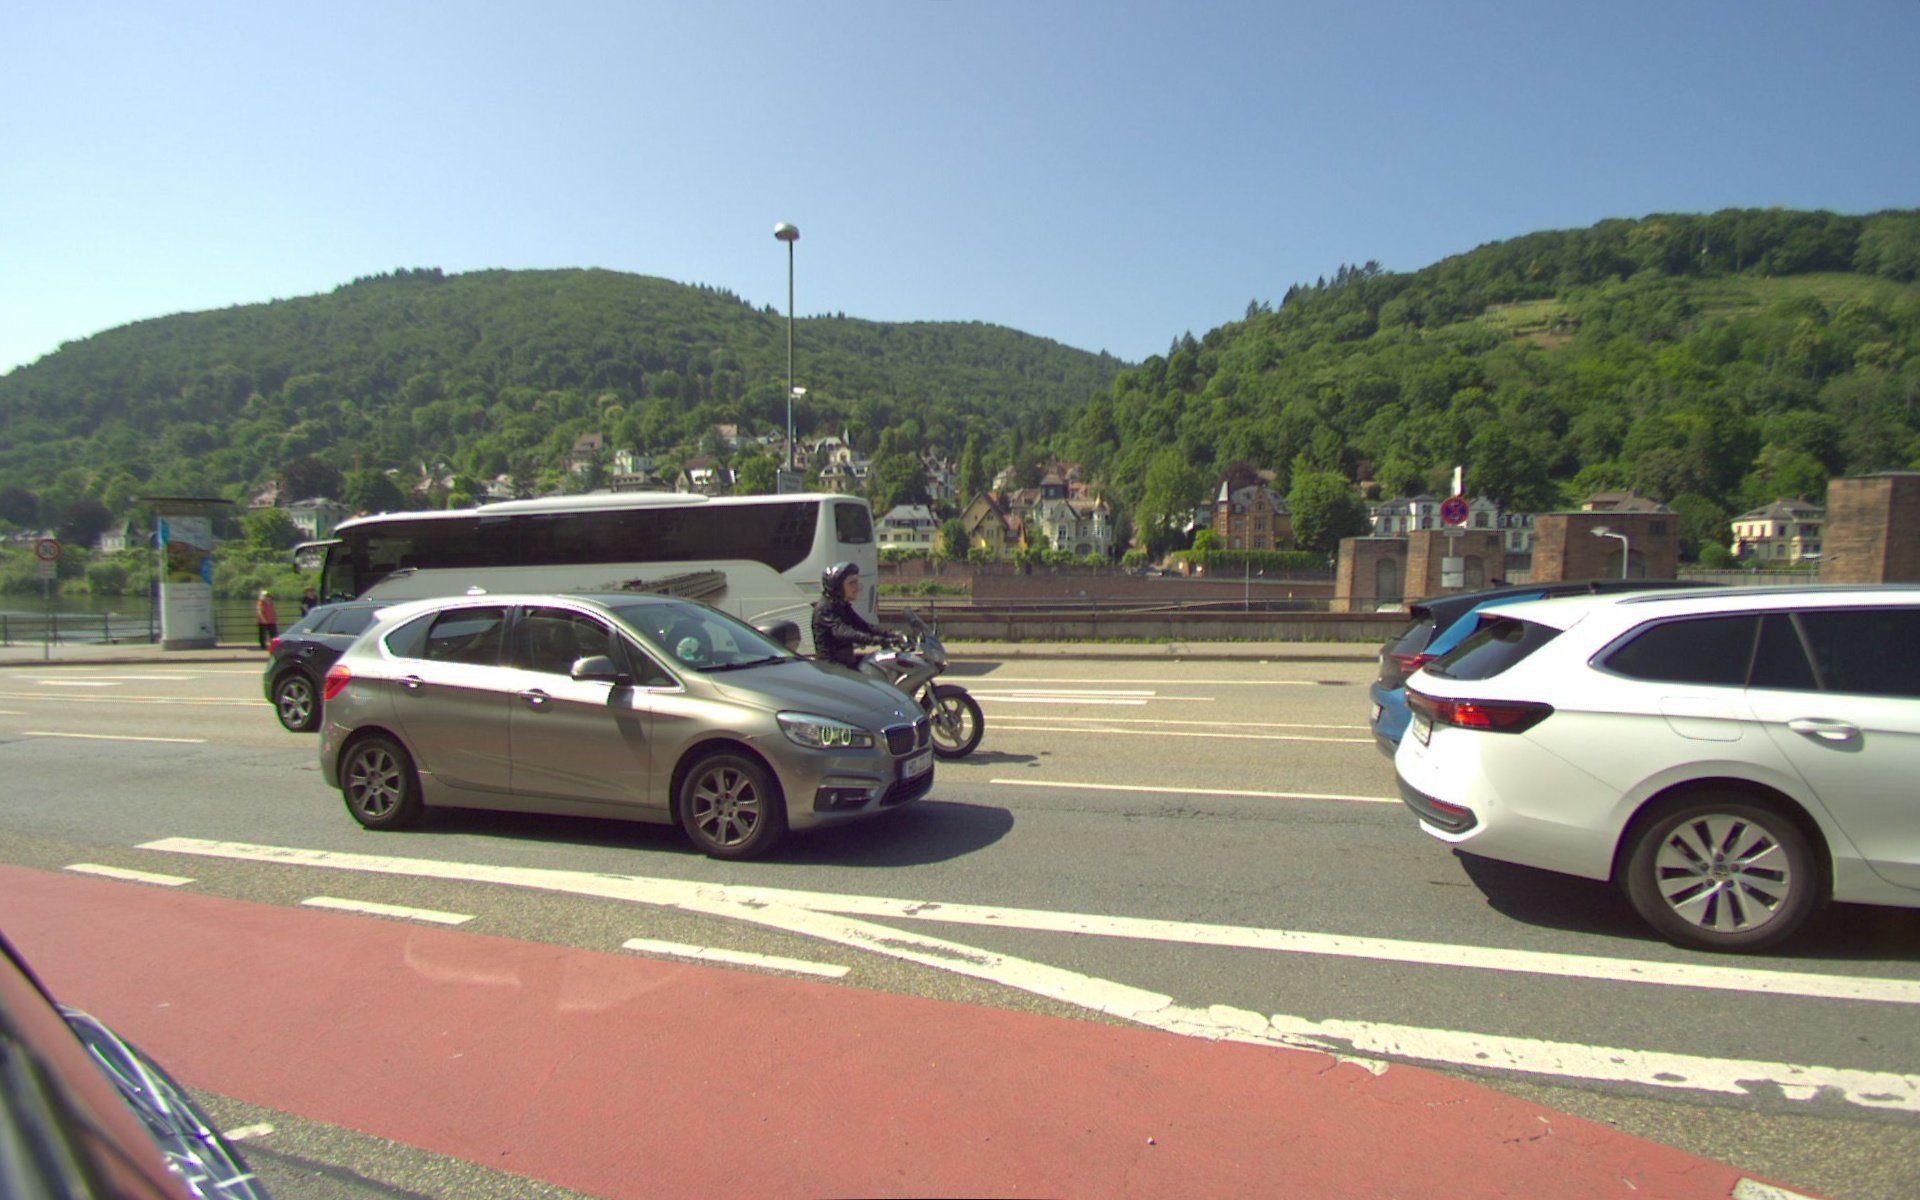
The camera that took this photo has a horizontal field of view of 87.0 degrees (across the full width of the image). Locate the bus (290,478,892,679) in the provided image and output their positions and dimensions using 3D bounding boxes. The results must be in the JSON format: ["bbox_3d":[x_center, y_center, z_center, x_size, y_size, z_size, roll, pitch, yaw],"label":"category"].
[{"bbox_3d":[-8.245,-0.387,22.414,13.121,3.828,2.953,-1,3,15],"label":"bus"}]

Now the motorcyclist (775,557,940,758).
[{"bbox_3d":[-0.907,0.490,9.223,1.147,1.697,1.072,-1,0,19],"label":"motorcyclist"}]

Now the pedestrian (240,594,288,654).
[{"bbox_3d":[-19.013,0.648,27.667,0.808,1.633,0.702,0,1,10],"label":"pedestrian"}]

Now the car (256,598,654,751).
[{"bbox_3d":[-5.829,0.740,11.725,4.121,1.525,1.862,0,0,21],"label":"car"}]

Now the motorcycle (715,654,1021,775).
[{"bbox_3d":[-0.829,0.982,9.196,2.585,0.926,1.034,-1,0,20],"label":"motorcycle"}]

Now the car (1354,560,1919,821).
[{"bbox_3d":[5.055,0.558,7.304,3.967,1.574,1.862,-1,0,18],"label":"car"}]

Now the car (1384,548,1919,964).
[{"bbox_3d":[4.580,0.567,4.460,4.819,1.545,1.988,-1,0,19],"label":"car"}]

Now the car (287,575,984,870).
[{"bbox_3d":[-2.149,0.638,6.873,4.273,1.532,1.882,0,0,20],"label":"car"}]

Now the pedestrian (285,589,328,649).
[{"bbox_3d":[-18.897,0.534,29.267,0.763,1.722,0.685,0,1,2],"label":"pedestrian"}]
